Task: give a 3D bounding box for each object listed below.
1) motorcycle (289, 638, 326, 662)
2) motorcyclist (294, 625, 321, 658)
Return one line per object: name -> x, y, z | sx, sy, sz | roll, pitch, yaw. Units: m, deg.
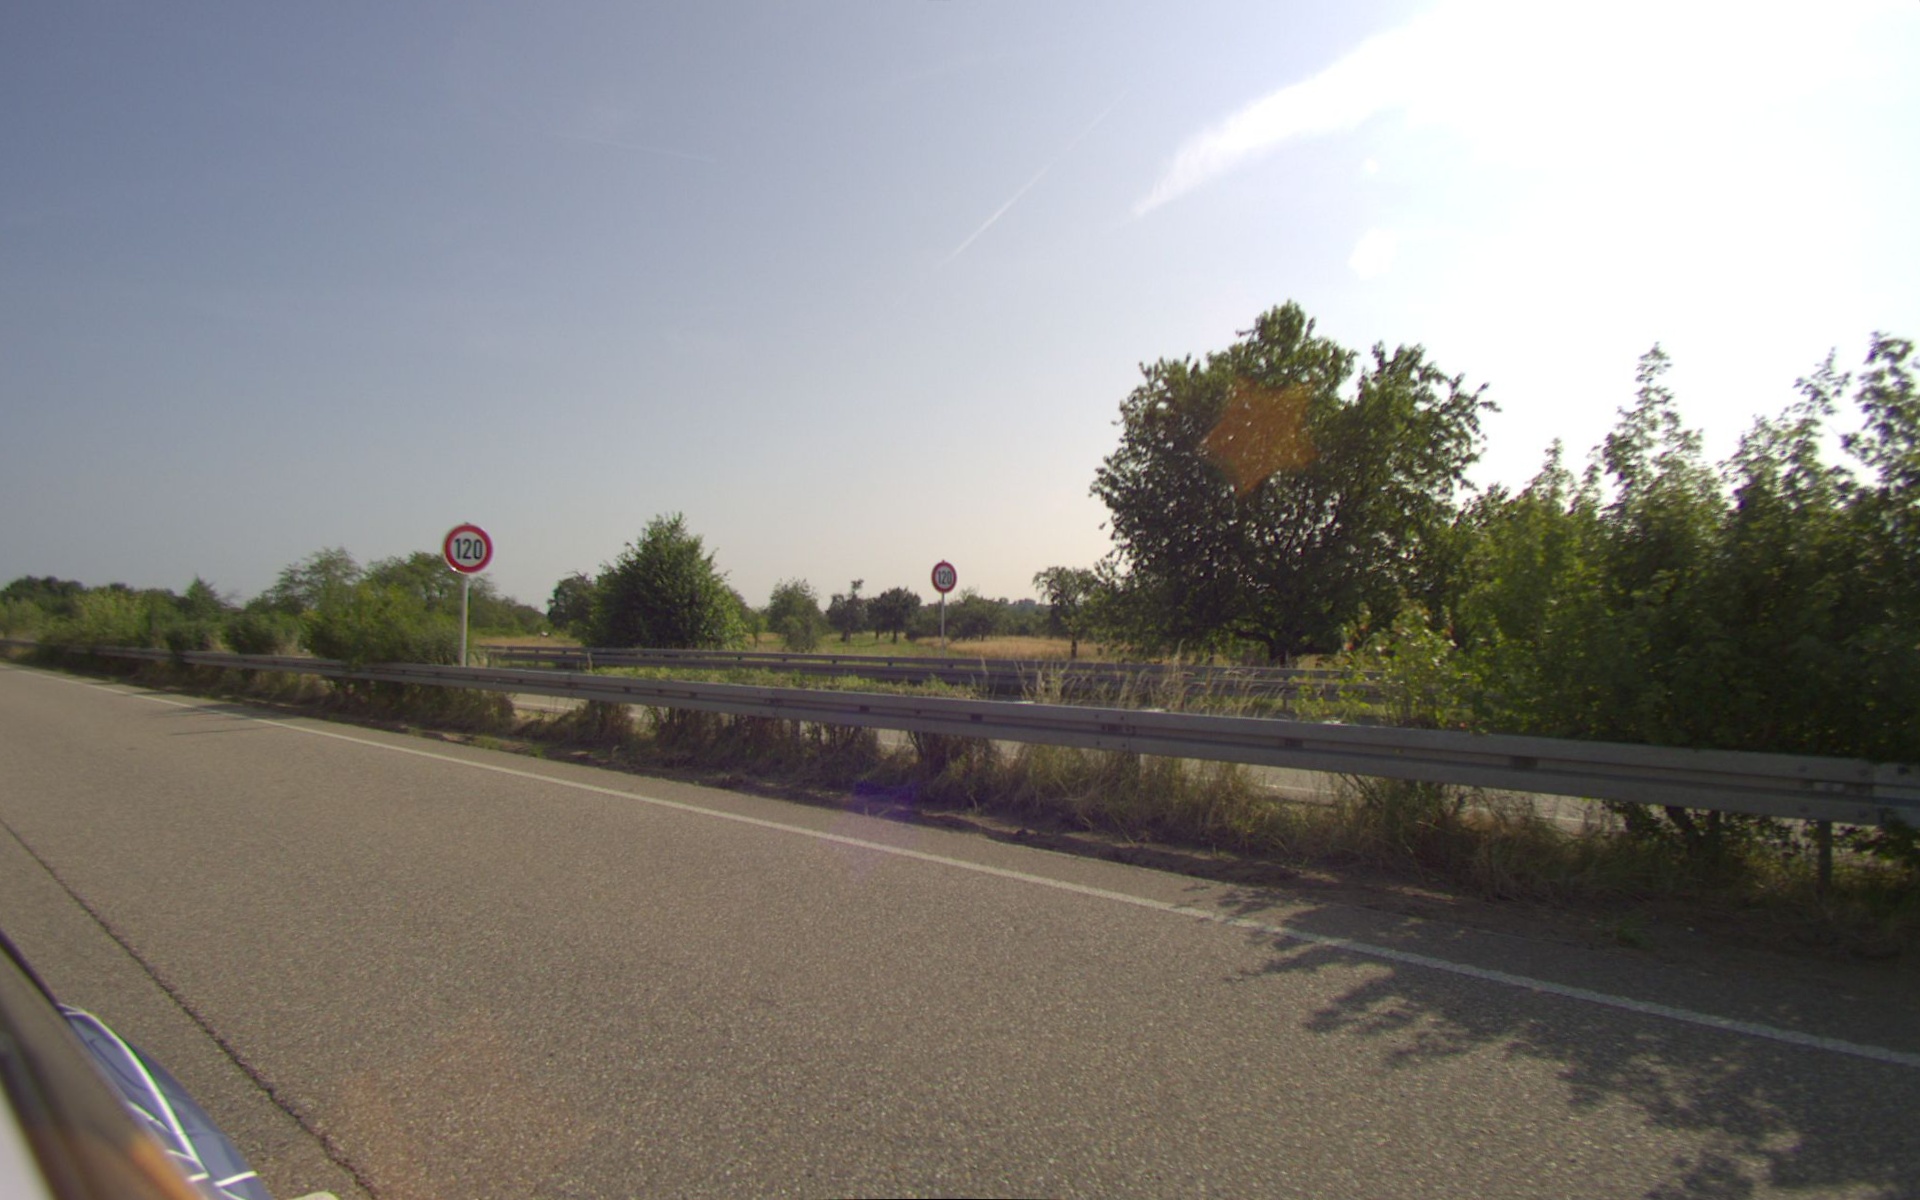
motorcycle -> -27.615, 2.098, 42.827 | 2.283, 0.971, 0.697 | -2, -4, 41
motorcyclist -> -27.610, 1.770, 42.840 | 0.807, 1.358, 0.697 | -2, -4, 41
